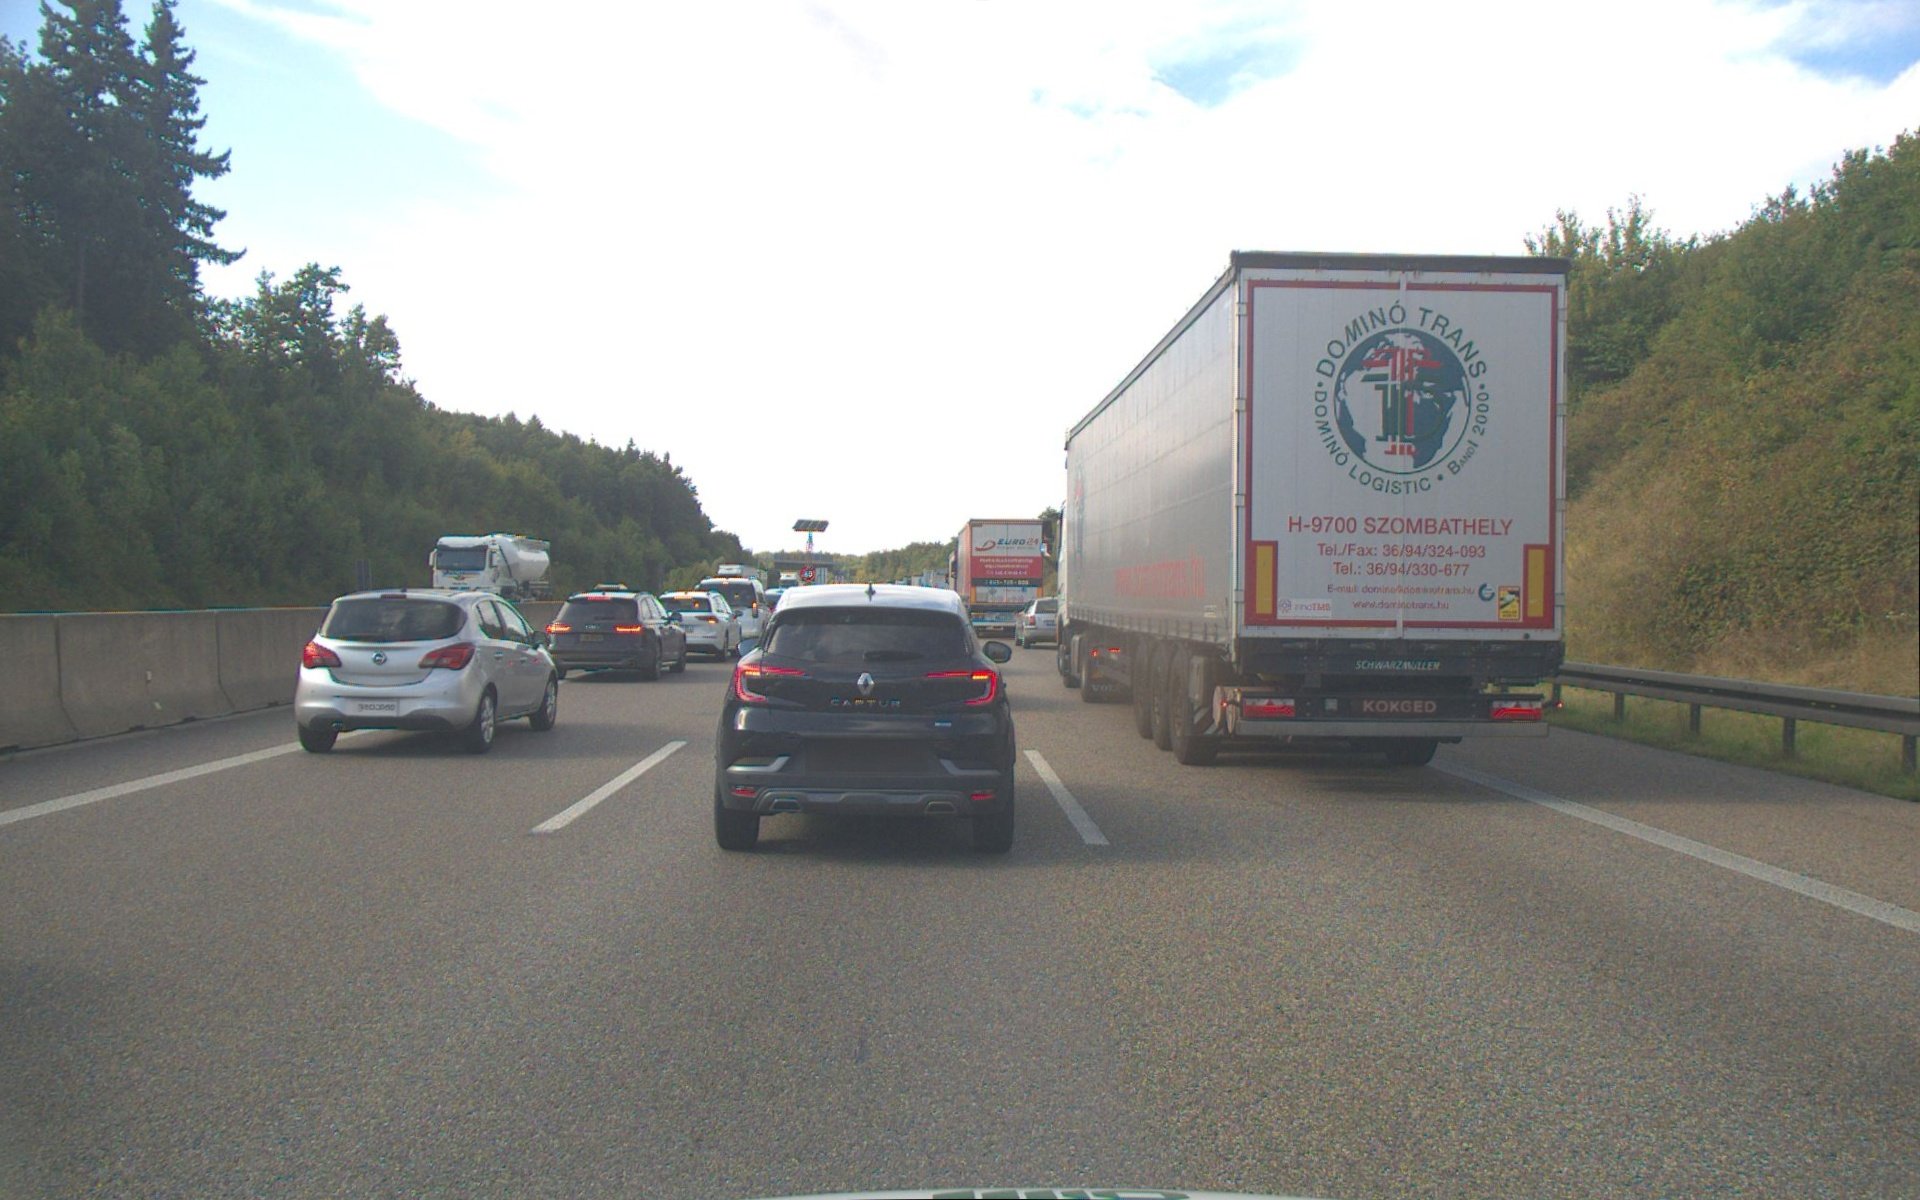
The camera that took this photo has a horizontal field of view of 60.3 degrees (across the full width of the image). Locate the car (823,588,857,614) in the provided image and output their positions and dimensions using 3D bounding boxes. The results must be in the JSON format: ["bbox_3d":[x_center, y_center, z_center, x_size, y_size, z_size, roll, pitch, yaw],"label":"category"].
[{"bbox_3d":[-7.718,0.039,106.957,1.953,1.641,3.999,1,0,-1],"label":"car"}]

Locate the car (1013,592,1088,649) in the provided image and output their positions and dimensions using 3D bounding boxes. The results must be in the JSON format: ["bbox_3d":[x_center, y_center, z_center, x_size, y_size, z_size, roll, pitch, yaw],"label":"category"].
[{"bbox_3d":[2.586,0.578,48.044,1.768,1.559,3.923,1,0,-3],"label":"car"}]

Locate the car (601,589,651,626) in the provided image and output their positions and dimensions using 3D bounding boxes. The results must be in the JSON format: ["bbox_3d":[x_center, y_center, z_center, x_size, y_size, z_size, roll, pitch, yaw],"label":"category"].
[{"bbox_3d":[-17.405,0.363,86.253,1.815,1.841,4.322,1,0,-2],"label":"car"}]

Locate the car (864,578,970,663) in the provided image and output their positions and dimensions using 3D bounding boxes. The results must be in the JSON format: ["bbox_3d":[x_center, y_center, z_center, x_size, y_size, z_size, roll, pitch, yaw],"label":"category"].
[{"bbox_3d":[-0.832,0.393,32.872,1.953,1.540,3.999,1,0,-1],"label":"car"}]

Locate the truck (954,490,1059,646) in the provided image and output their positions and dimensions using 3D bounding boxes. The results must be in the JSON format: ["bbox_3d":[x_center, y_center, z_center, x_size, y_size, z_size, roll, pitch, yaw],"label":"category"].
[{"bbox_3d":[1.516,-1.042,61.374,3.296,5.132,12.734,1,0,-1],"label":"truck"}]

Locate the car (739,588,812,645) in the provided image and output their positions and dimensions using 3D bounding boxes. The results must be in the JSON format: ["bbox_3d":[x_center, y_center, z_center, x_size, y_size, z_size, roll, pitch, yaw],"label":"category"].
[{"bbox_3d":[-5.686,0.489,51.375,1.818,1.669,3.925,1,0,-1],"label":"car"}]

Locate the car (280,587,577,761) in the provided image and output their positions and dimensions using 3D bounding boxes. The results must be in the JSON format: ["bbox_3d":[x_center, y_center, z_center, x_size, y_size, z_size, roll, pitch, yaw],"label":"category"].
[{"bbox_3d":[-5.035,0.621,16.248,1.711,1.491,4.040,0,0,-2],"label":"car"}]

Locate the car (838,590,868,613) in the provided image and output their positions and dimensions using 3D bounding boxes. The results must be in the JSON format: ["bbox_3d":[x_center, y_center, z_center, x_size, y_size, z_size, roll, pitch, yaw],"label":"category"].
[{"bbox_3d":[-7.676,0.096,119.398,1.953,1.641,3.999,1,0,-1],"label":"car"}]

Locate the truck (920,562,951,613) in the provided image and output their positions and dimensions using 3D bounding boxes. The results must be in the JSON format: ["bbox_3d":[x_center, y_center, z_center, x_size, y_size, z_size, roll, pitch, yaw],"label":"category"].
[{"bbox_3d":[-2.612,-1.302,177.571,3.102,5.250,12.734,1,0,-1],"label":"truck"}]

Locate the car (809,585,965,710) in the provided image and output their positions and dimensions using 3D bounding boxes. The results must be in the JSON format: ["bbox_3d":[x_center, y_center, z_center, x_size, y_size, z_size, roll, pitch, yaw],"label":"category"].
[{"bbox_3d":[-0.958,0.611,22.928,1.953,1.540,3.999,1,0,-1],"label":"car"}]

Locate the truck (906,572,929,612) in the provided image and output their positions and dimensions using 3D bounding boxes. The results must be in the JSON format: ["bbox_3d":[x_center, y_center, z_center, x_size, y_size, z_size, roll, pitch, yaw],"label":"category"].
[{"bbox_3d":[-6.166,-1.086,240.714,3.102,5.601,12.734,1,0,-1],"label":"truck"}]

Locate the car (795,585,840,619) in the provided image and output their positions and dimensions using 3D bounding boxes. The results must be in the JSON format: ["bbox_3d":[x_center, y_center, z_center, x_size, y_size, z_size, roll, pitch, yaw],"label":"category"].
[{"bbox_3d":[-7.005,0.082,81.714,1.953,1.641,3.999,1,0,-1],"label":"car"}]

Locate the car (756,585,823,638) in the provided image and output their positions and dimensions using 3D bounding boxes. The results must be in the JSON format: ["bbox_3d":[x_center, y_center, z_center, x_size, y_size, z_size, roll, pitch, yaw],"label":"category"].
[{"bbox_3d":[-5.915,0.389,57.739,1.953,1.752,3.999,1,0,-1],"label":"car"}]

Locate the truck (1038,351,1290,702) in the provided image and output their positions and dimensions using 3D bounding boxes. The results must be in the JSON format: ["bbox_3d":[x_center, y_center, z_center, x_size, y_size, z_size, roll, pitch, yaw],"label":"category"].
[{"bbox_3d":[2.926,-1.012,25.531,2.937,4.749,5.937,1,0,-2],"label":"truck"}]

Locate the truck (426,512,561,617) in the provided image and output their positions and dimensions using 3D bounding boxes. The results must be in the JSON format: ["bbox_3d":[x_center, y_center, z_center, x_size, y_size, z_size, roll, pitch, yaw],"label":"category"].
[{"bbox_3d":[-21.737,-1.501,78.123,2.873,4.430,13.904,1,0,-2],"label":"truck"}]

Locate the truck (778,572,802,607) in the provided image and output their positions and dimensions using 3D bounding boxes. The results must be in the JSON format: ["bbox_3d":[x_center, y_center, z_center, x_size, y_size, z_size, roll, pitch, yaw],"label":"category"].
[{"bbox_3d":[-25.707,-1.588,250.804,3.026,5.190,7.138,1,0,-2],"label":"truck"}]

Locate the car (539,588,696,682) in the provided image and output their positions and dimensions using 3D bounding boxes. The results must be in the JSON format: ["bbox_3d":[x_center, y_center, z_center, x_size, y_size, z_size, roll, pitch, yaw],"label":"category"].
[{"bbox_3d":[-5.848,0.544,28.780,1.805,1.481,4.746,1,0,-1],"label":"car"}]

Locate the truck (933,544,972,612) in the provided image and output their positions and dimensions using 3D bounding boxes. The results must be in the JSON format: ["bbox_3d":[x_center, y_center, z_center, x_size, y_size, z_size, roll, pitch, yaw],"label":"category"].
[{"bbox_3d":[-0.602,-1.783,142.720,3.101,5.601,12.737,1,0,1],"label":"truck"}]

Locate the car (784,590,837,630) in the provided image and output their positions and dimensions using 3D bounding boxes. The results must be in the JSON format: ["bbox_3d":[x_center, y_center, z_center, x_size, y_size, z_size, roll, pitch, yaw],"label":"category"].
[{"bbox_3d":[-6.454,0.442,71.720,1.953,1.641,3.999,1,0,-1],"label":"car"}]

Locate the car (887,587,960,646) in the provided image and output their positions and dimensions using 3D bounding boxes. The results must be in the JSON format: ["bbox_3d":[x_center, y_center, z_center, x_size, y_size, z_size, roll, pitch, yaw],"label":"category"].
[{"bbox_3d":[-1.016,0.450,46.357,1.953,1.540,3.999,1,0,-1],"label":"car"}]

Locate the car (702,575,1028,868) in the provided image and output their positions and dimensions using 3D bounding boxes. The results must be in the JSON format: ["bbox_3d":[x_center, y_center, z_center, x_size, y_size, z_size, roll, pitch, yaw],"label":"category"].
[{"bbox_3d":[-0.491,0.658,11.010,1.767,1.579,4.000,0,0,1],"label":"car"}]

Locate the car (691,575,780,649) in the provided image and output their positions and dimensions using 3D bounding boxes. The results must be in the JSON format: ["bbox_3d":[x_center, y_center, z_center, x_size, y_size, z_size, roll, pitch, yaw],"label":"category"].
[{"bbox_3d":[-5.834,0.309,43.350,1.873,1.821,4.415,1,0,-3],"label":"car"}]

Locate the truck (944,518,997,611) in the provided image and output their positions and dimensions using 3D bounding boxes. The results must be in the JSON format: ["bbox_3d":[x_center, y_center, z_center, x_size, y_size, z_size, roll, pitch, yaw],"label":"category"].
[{"bbox_3d":[0.562,-2.109,106.509,3.102,5.601,12.734,1,0,-1],"label":"truck"}]

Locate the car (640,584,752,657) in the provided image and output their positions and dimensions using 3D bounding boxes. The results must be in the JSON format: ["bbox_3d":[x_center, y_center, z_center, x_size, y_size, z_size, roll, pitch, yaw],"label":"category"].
[{"bbox_3d":[-5.709,0.425,36.176,1.768,1.486,4.308,1,0,-1],"label":"car"}]

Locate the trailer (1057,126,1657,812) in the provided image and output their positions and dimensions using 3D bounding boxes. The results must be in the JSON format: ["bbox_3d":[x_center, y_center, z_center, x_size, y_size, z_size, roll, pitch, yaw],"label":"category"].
[{"bbox_3d":[3.176,-0.945,18.198,2.941,4.742,13.285,1,0,-2],"label":"trailer"}]
